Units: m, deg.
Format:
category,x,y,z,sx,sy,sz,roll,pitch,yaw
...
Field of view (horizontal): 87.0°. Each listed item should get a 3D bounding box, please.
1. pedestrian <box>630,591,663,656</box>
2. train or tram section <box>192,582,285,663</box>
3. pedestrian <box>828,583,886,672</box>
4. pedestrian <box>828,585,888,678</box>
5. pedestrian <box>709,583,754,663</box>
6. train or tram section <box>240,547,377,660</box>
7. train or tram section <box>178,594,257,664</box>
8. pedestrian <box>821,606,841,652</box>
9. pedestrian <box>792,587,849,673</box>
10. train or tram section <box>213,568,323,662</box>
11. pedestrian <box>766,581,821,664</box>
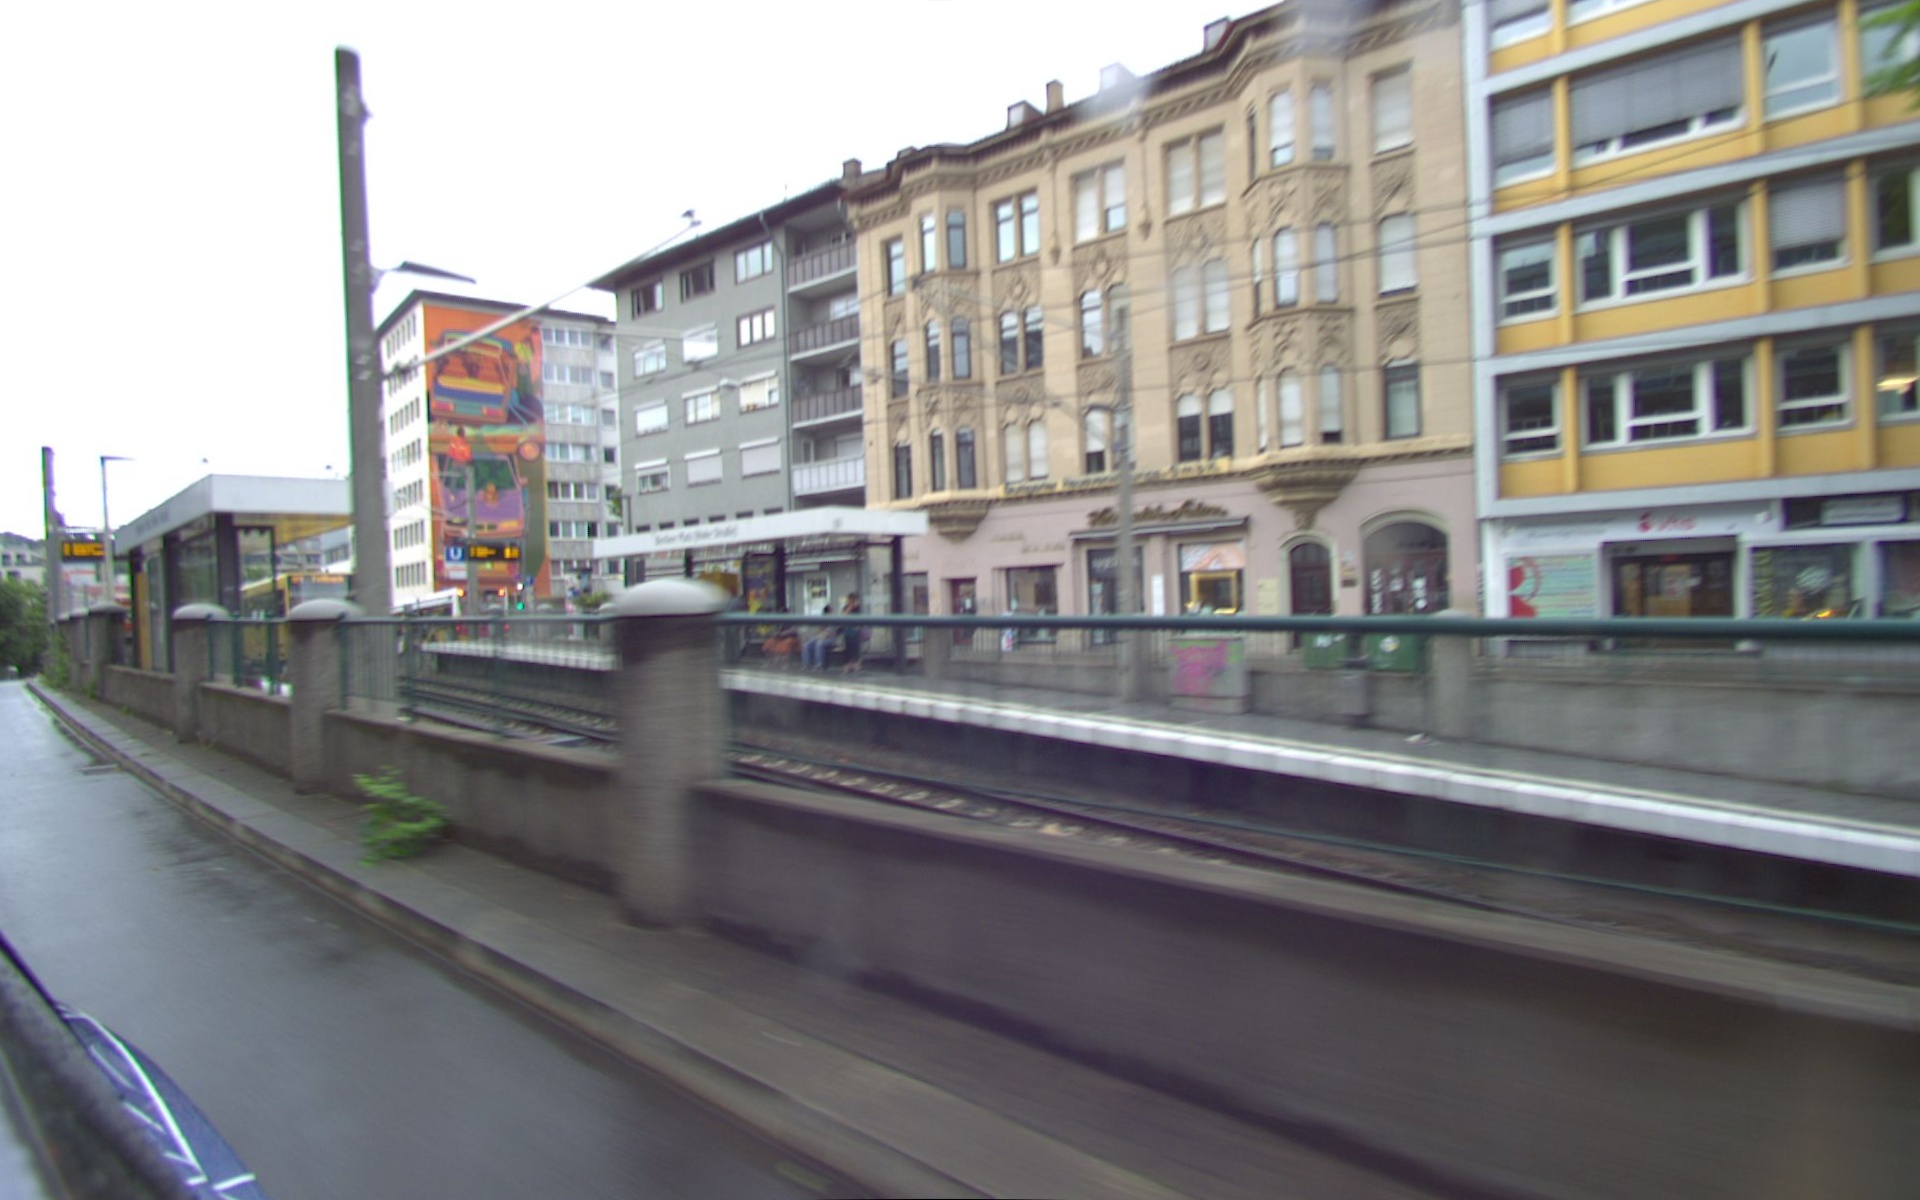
category,x,y,z,sx,sy,sz,roll,pitch,yaw
pedestrian,-7.679,0.571,24.782,0.551,1.549,0.517,-2,0,-45
train or tram section,-38.071,1.308,53.234,2.745,3.719,9.521,-4,-1,-42
pedestrian,-2.019,0.547,19.828,0.762,1.661,0.778,5,-5,-41
pedestrian,-1.896,0.595,18.798,0.669,1.661,0.897,5,-5,-41
pedestrian,-4.927,0.488,21.792,0.625,1.673,0.683,-2,0,-42
train or tram section,-25.284,0.291,38.999,2.745,3.719,9.725,-4,-1,-42
train or tram section,-44.216,1.809,60.116,2.745,3.719,8.985,-4,-1,-42
pedestrian,-4.832,1.092,37.897,0.416,1.695,0.609,-3,0,-34
pedestrian,-2.800,0.615,20.271,0.762,1.661,0.778,5,-5,-41
train or tram section,-31.708,0.799,46.173,2.745,3.719,9.521,-4,-1,-42
pedestrian,-3.469,0.474,21.034,0.762,1.661,0.778,5,-5,-41
